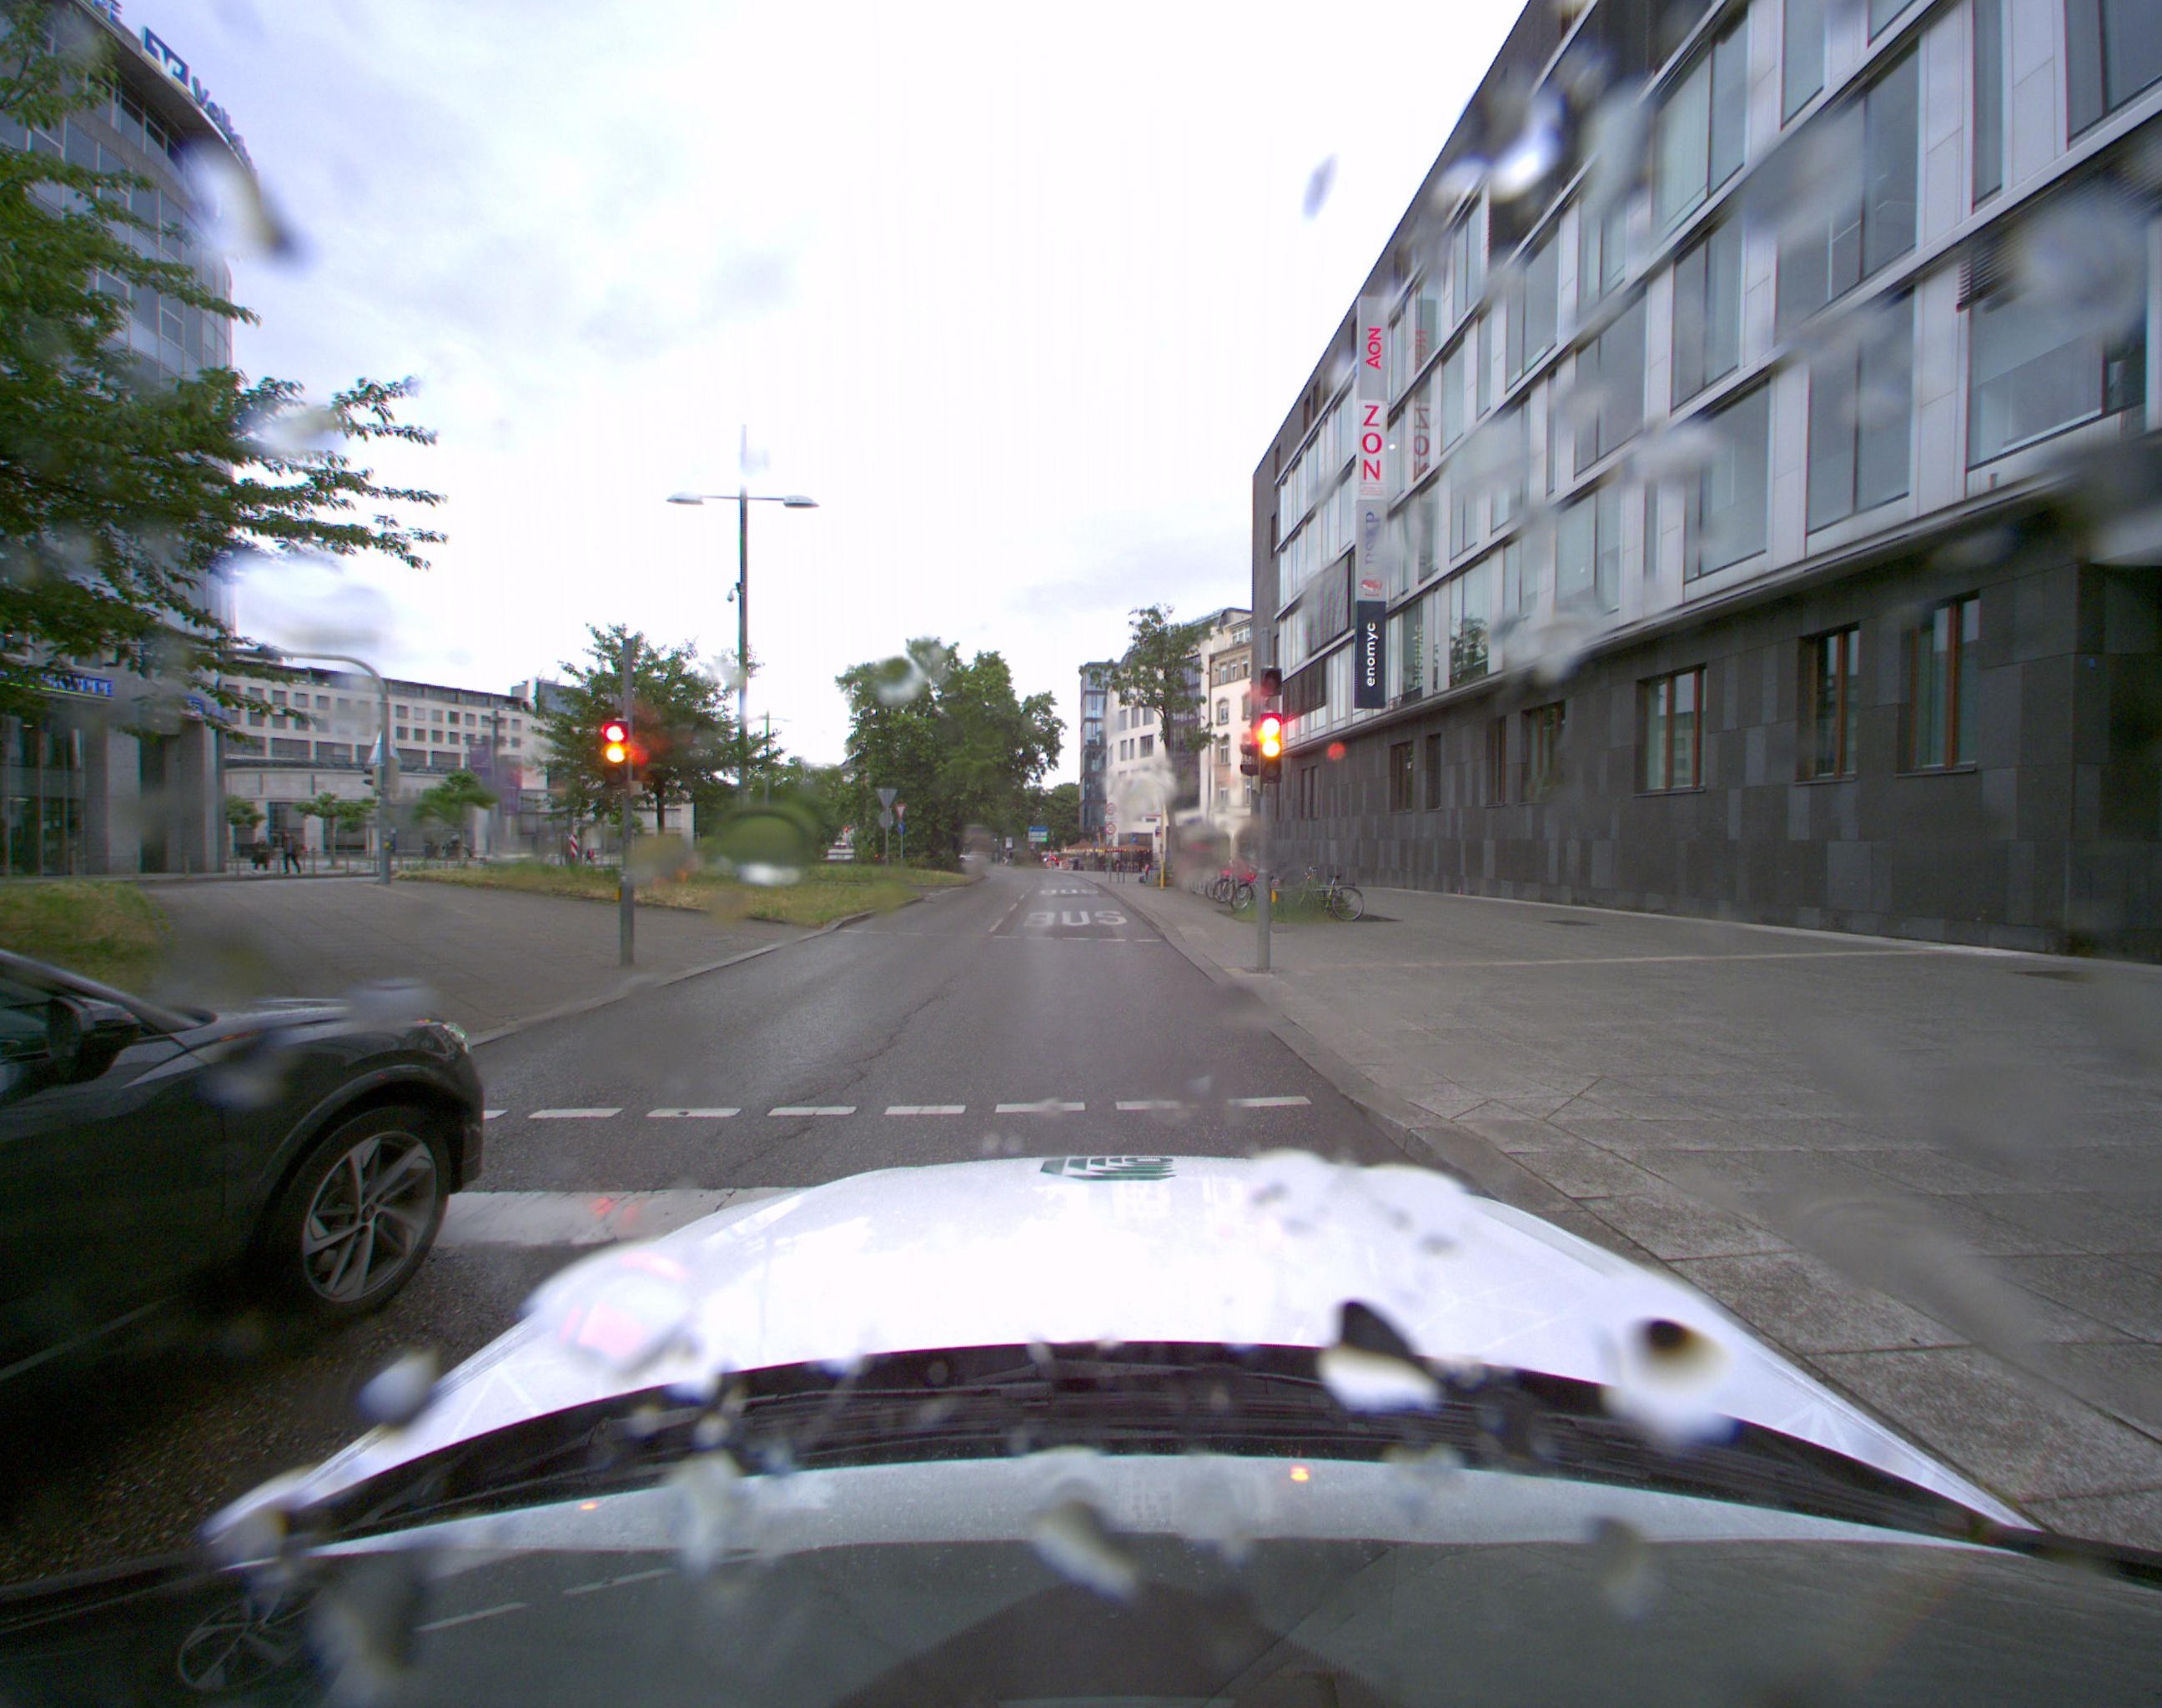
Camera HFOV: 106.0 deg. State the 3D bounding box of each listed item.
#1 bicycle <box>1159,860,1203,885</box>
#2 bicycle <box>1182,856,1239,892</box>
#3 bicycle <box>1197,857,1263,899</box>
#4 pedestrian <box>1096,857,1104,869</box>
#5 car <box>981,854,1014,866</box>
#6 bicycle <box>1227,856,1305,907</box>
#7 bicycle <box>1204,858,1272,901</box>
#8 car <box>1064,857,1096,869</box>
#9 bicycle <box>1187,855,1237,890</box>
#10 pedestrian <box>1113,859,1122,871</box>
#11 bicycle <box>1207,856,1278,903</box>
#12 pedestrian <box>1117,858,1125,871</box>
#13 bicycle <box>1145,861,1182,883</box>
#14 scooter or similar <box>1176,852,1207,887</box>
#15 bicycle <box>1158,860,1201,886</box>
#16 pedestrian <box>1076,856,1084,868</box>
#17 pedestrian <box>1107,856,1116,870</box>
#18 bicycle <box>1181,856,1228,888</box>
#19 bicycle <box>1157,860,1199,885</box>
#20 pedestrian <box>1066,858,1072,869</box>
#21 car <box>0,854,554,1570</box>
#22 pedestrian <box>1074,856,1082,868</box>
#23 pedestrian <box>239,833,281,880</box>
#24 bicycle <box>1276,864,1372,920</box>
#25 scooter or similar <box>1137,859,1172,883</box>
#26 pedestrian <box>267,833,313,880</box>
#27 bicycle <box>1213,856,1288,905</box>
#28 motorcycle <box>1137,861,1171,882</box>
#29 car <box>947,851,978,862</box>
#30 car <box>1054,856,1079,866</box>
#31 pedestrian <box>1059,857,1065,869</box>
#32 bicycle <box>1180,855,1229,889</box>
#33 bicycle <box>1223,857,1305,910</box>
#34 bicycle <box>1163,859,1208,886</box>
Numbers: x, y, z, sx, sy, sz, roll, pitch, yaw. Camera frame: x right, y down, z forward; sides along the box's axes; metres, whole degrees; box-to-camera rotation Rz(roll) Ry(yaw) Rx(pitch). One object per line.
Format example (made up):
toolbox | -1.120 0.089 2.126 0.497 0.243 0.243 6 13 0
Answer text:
bicycle | 4.330 0.801 35.238 1.792 1.068 0.555 2 -2 -7
bicycle | 4.206 0.657 26.562 1.705 1.140 0.687 0 -1 -9
bicycle | 4.282 0.677 23.428 1.729 1.140 0.687 -1 0 -9
pedestrian | 2.197 1.071 96.373 0.816 1.326 0.634 3 -1 -6
car | -12.556 0.942 122.190 4.723 1.691 2.003 1 0 -3
bicycle | 4.522 0.665 19.974 1.729 1.183 0.687 -1 0 -9
bicycle | 4.358 0.684 22.612 1.729 1.140 0.687 -1 0 -9
car | -0.149 1.426 124.629 4.723 1.691 2.003 1 0 -3
bicycle | 4.386 0.612 27.379 1.533 1.140 0.687 0 -1 -9
pedestrian | 3.936 1.196 87.512 0.630 1.326 0.630 3 -1 -27
bicycle | 4.300 0.666 21.755 1.729 1.183 0.687 -1 0 -9
pedestrian | 4.217 1.067 86.241 0.630 1.326 0.630 3 -1 -27
bicycle | 4.323 0.950 42.675 1.793 1.108 0.668 2 -1 -8
scooter or similar | 4.091 0.575 30.147 1.105 1.258 0.301 0 -1 -9
bicycle | 4.352 0.835 36.075 1.792 1.068 0.555 2 -2 -7
pedestrian | -0.166 0.948 96.099 0.816 1.326 0.634 3 -1 -6
pedestrian | 2.990 0.870 80.980 0.773 1.326 0.634 3 -1 -7
bicycle | 4.379 0.643 28.998 1.533 1.140 0.660 0 -1 -9
bicycle | 4.520 0.852 38.018 1.793 1.108 0.668 2 -1 -8
pedestrian | -1.398 1.092 94.131 0.605 1.326 0.566 3 -1 -6
car | -3.215 0.759 1.399 1.856 1.517 4.342 0 0 -2
pedestrian | -0.336 0.942 97.057 0.816 1.326 0.634 3 -1 -6
pedestrian | -35.673 0.113 35.406 0.851 2.014 1.030 0 -1 -15
bicycle | 4.900 0.746 16.480 1.729 1.070 0.687 -1 0 -9
scooter or similar | 4.037 0.920 44.751 1.790 1.243 0.594 2 -2 -8
pedestrian | -34.716 0.109 35.761 1.054 2.014 1.030 0 -1 -15
bicycle | 4.322 0.668 20.820 1.729 1.183 0.687 -1 0 -9
motorcycle | 4.061 0.997 45.534 1.790 1.140 0.594 2 -2 -8
car | -18.616 0.428 128.223 4.304 1.666 1.959 0 -1 10
car | -2.346 1.165 132.073 3.950 1.510 1.811 2 0 43
pedestrian | -2.162 1.046 94.007 0.605 1.326 0.566 3 -1 -6
bicycle | 4.261 0.622 28.149 1.533 1.140 0.687 0 -1 -9
bicycle | 4.227 0.670 18.839 1.729 1.183 0.687 -1 0 -9
bicycle | 4.434 0.793 34.521 1.792 1.068 0.555 2 -2 -7
